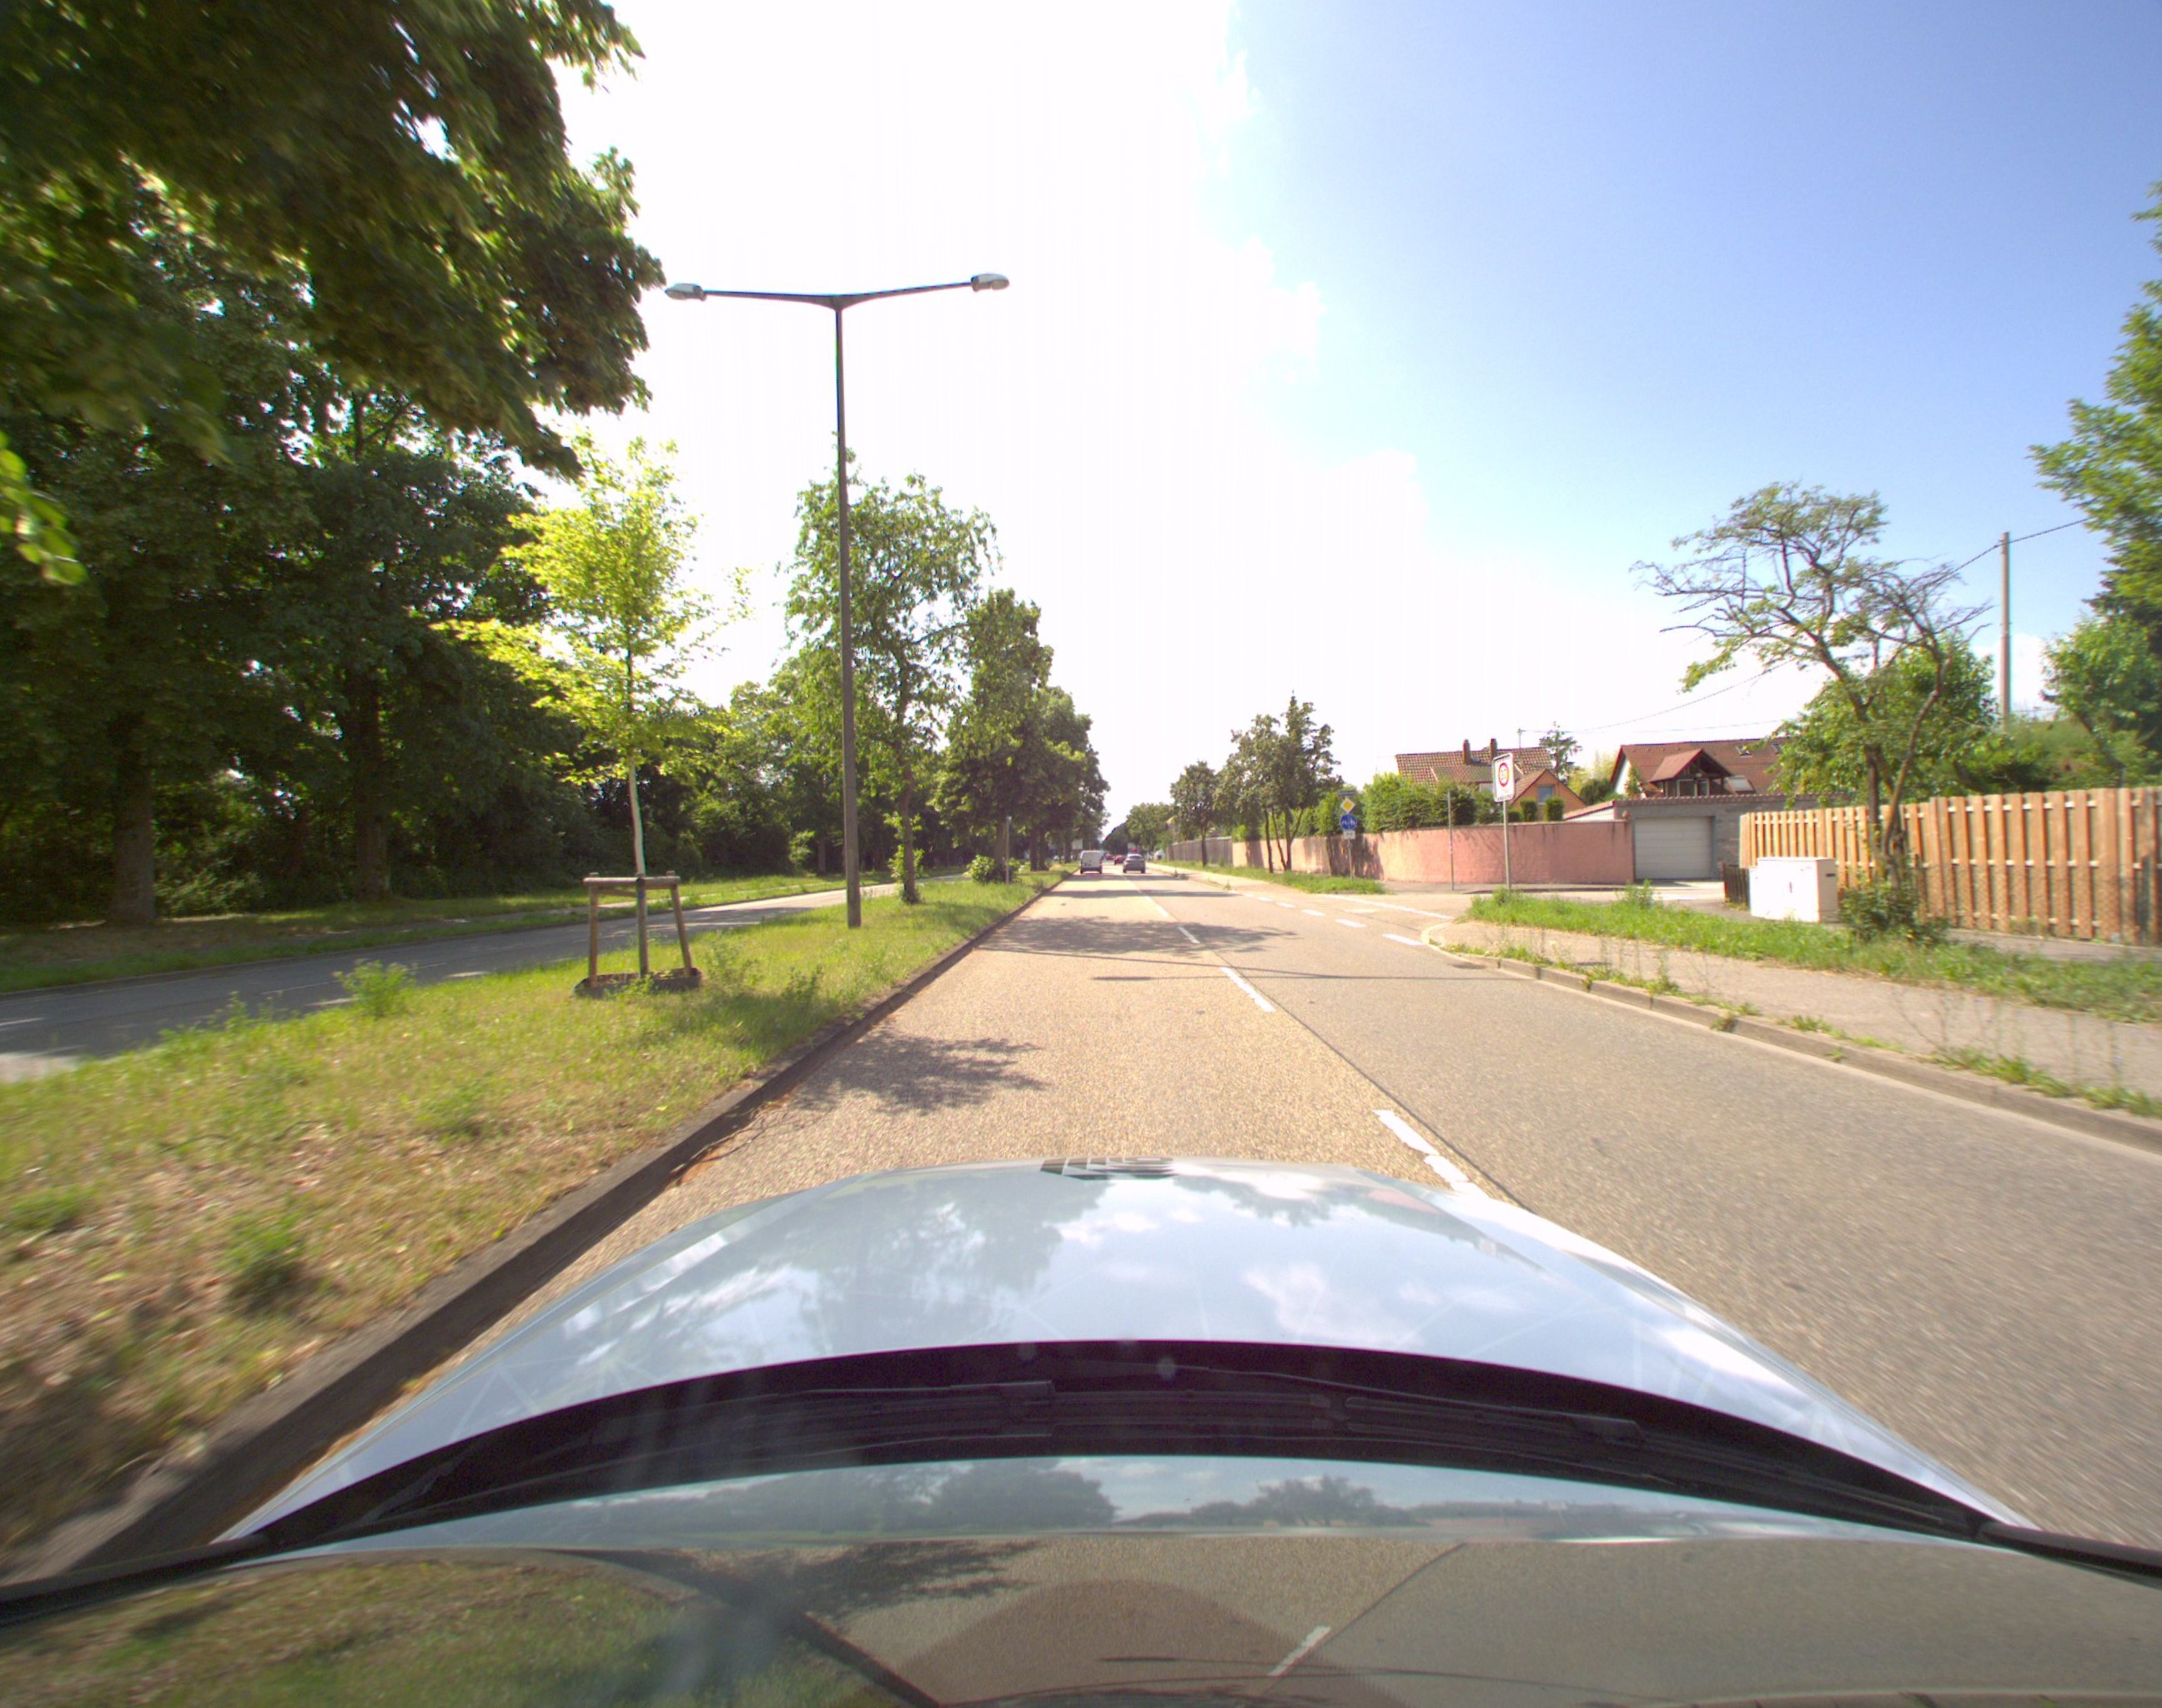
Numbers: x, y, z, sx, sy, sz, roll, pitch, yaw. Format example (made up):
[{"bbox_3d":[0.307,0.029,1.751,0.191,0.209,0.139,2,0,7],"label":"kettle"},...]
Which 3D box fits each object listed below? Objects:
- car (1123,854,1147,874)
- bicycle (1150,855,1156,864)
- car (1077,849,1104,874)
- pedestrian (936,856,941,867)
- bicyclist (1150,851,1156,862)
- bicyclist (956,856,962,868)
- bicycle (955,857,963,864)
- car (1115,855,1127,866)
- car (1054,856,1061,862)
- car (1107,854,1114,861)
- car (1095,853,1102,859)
[{"bbox_3d":[4.449,0.835,67.479,1.868,1.589,4.186,-1,0,2],"label":"car"},{"bbox_3d":[9.838,0.748,111.351,0.643,1.067,2.279,-4,0,2],"label":"bicycle"},{"bbox_3d":[0.789,0.562,66.204,2.058,1.912,4.647,-1,0,1],"label":"car"},{"bbox_3d":[-21.508,1.086,122.785,0.641,1.630,0.656,0,0,2],"label":"pedestrian"},{"bbox_3d":[9.806,0.344,111.256,0.652,1.412,0.987,-4,0,2],"label":"bicyclist"},{"bbox_3d":[-16.001,1.055,107.044,0.615,1.448,0.730,-1,0,4],"label":"bicyclist"},{"bbox_3d":[-16.006,0.855,106.989,0.615,0.878,1.917,-1,0,4],"label":"bicycle"},{"bbox_3d":[6.274,1.038,128.578,1.873,1.587,4.001,-1,0,1],"label":"car"},{"bbox_3d":[-7.042,1.408,242.724,1.986,1.705,4.195,-1,0,2],"label":"car"},{"bbox_3d":[8.269,1.005,226.919,1.986,1.772,4.148,0,0,1],"label":"car"},{"bbox_3d":[4.917,0.562,232.266,1.934,1.768,4.147,-1,0,2],"label":"car"}]
